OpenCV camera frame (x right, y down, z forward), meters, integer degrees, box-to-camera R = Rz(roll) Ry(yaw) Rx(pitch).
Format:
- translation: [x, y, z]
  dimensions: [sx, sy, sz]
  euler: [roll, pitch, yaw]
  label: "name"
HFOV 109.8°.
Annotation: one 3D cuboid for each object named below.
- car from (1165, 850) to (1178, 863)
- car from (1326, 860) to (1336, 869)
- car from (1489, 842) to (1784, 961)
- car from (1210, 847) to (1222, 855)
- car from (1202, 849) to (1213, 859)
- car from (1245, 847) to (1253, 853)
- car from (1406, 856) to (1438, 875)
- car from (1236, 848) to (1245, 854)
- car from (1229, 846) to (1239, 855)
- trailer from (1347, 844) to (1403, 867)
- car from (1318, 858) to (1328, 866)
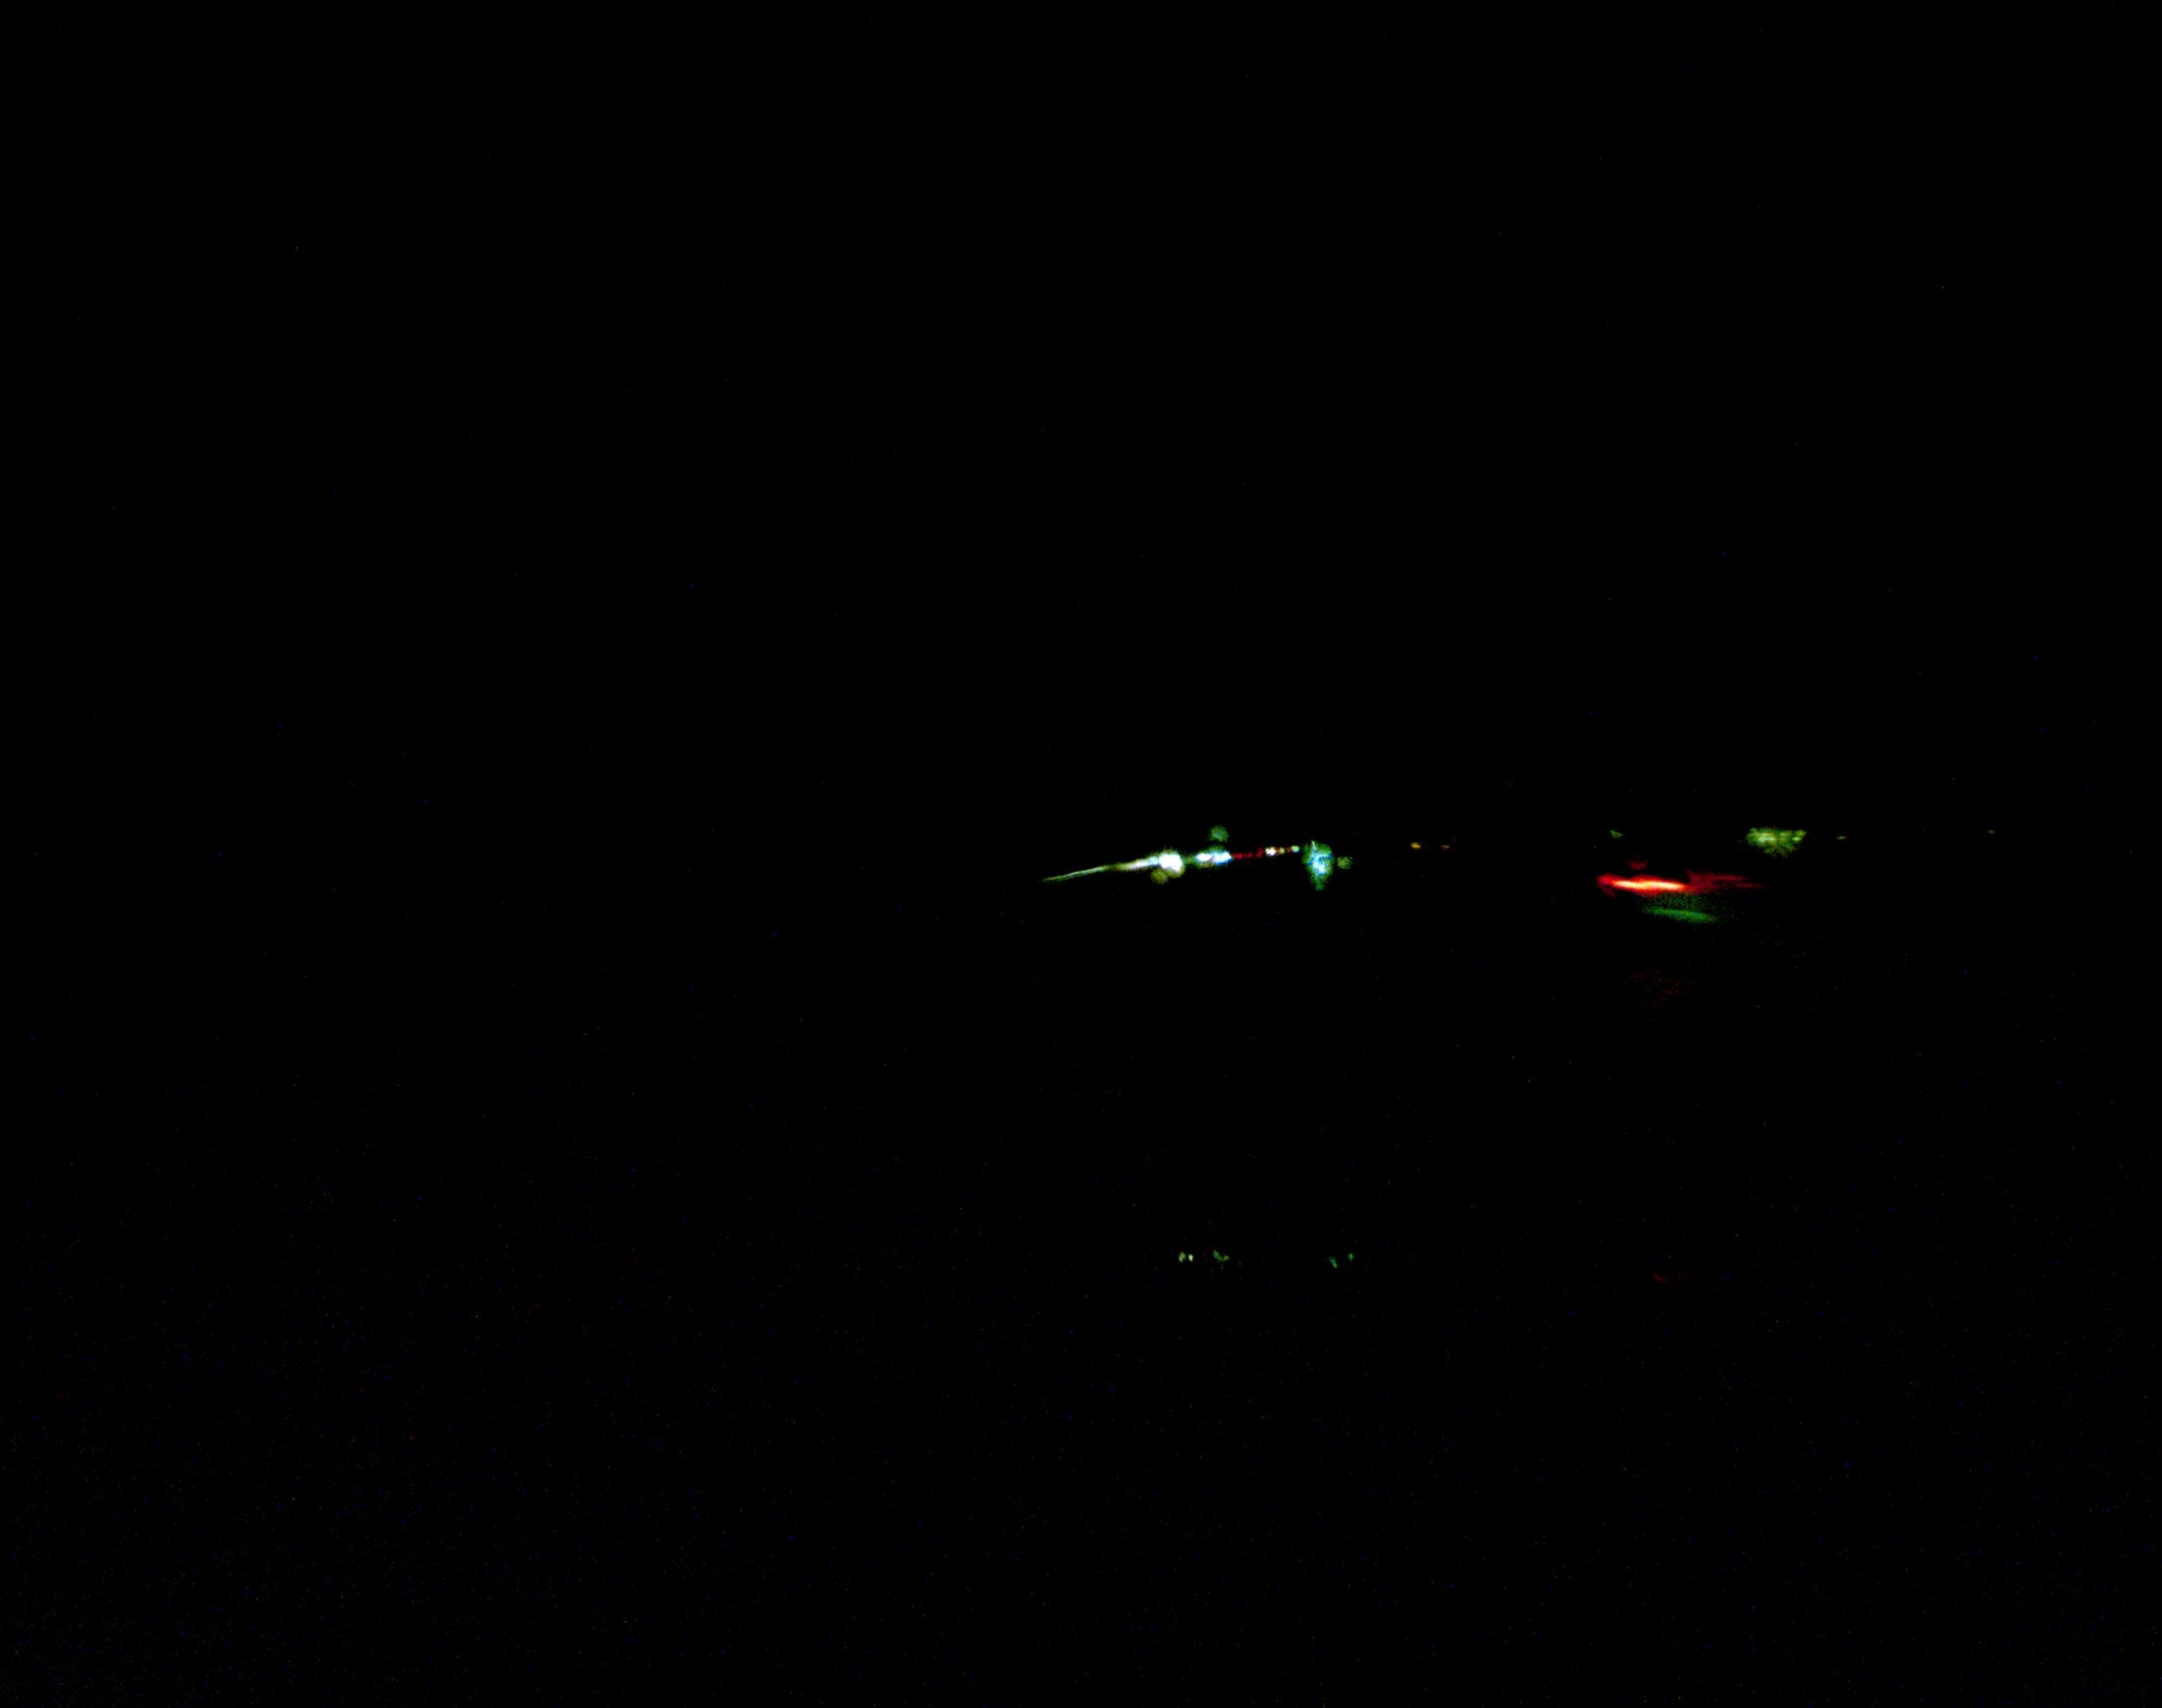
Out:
- translation: [14.811, 0.335, 124.697]
  dimensions: [1.998, 2.002, 4.001]
  euler: [-2, 0, 6]
  label: "car"
- translation: [52.422, 2.226, 159.256]
  dimensions: [1.810, 1.561, 4.298]
  euler: [-2, 0, 20]
  label: "car"
- translation: [8.926, 0.664, 12.703]
  dimensions: [1.886, 1.591, 3.898]
  euler: [-2, 0, -4]
  label: "car"
- translation: [28.536, -0.662, 160.698]
  dimensions: [1.996, 1.604, 4.617]
  euler: [-1, 0, 17]
  label: "car"
- translation: [28.940, 0.028, 173.452]
  dimensions: [1.996, 2.002, 4.004]
  euler: [-2, 0, 16]
  label: "car"
- translation: [48.047, -1.048, 217.539]
  dimensions: [1.689, 1.671, 3.472]
  euler: [-2, 1, 21]
  label: "car"
- translation: [39.604, 1.329, 88.337]
  dimensions: [1.998, 2.002, 4.001]
  euler: [-2, 0, 4]
  label: "car"
- translation: [42.205, -0.694, 201.227]
  dimensions: [1.801, 1.511, 4.541]
  euler: [-1, 1, 18]
  label: "car"
- translation: [37.456, -0.799, 185.911]
  dimensions: [1.996, 2.063, 4.004]
  euler: [-2, 0, 17]
  label: "car"
- translation: [68.404, 0.307, 176.943]
  dimensions: [11.548, 4.768, 3.337]
  euler: [-2, 1, -1]
  label: "trailer"
- translation: [57.984, 1.988, 182.053]
  dimensions: [1.810, 1.666, 4.298]
  euler: [-2, 0, 21]
  label: "car"
